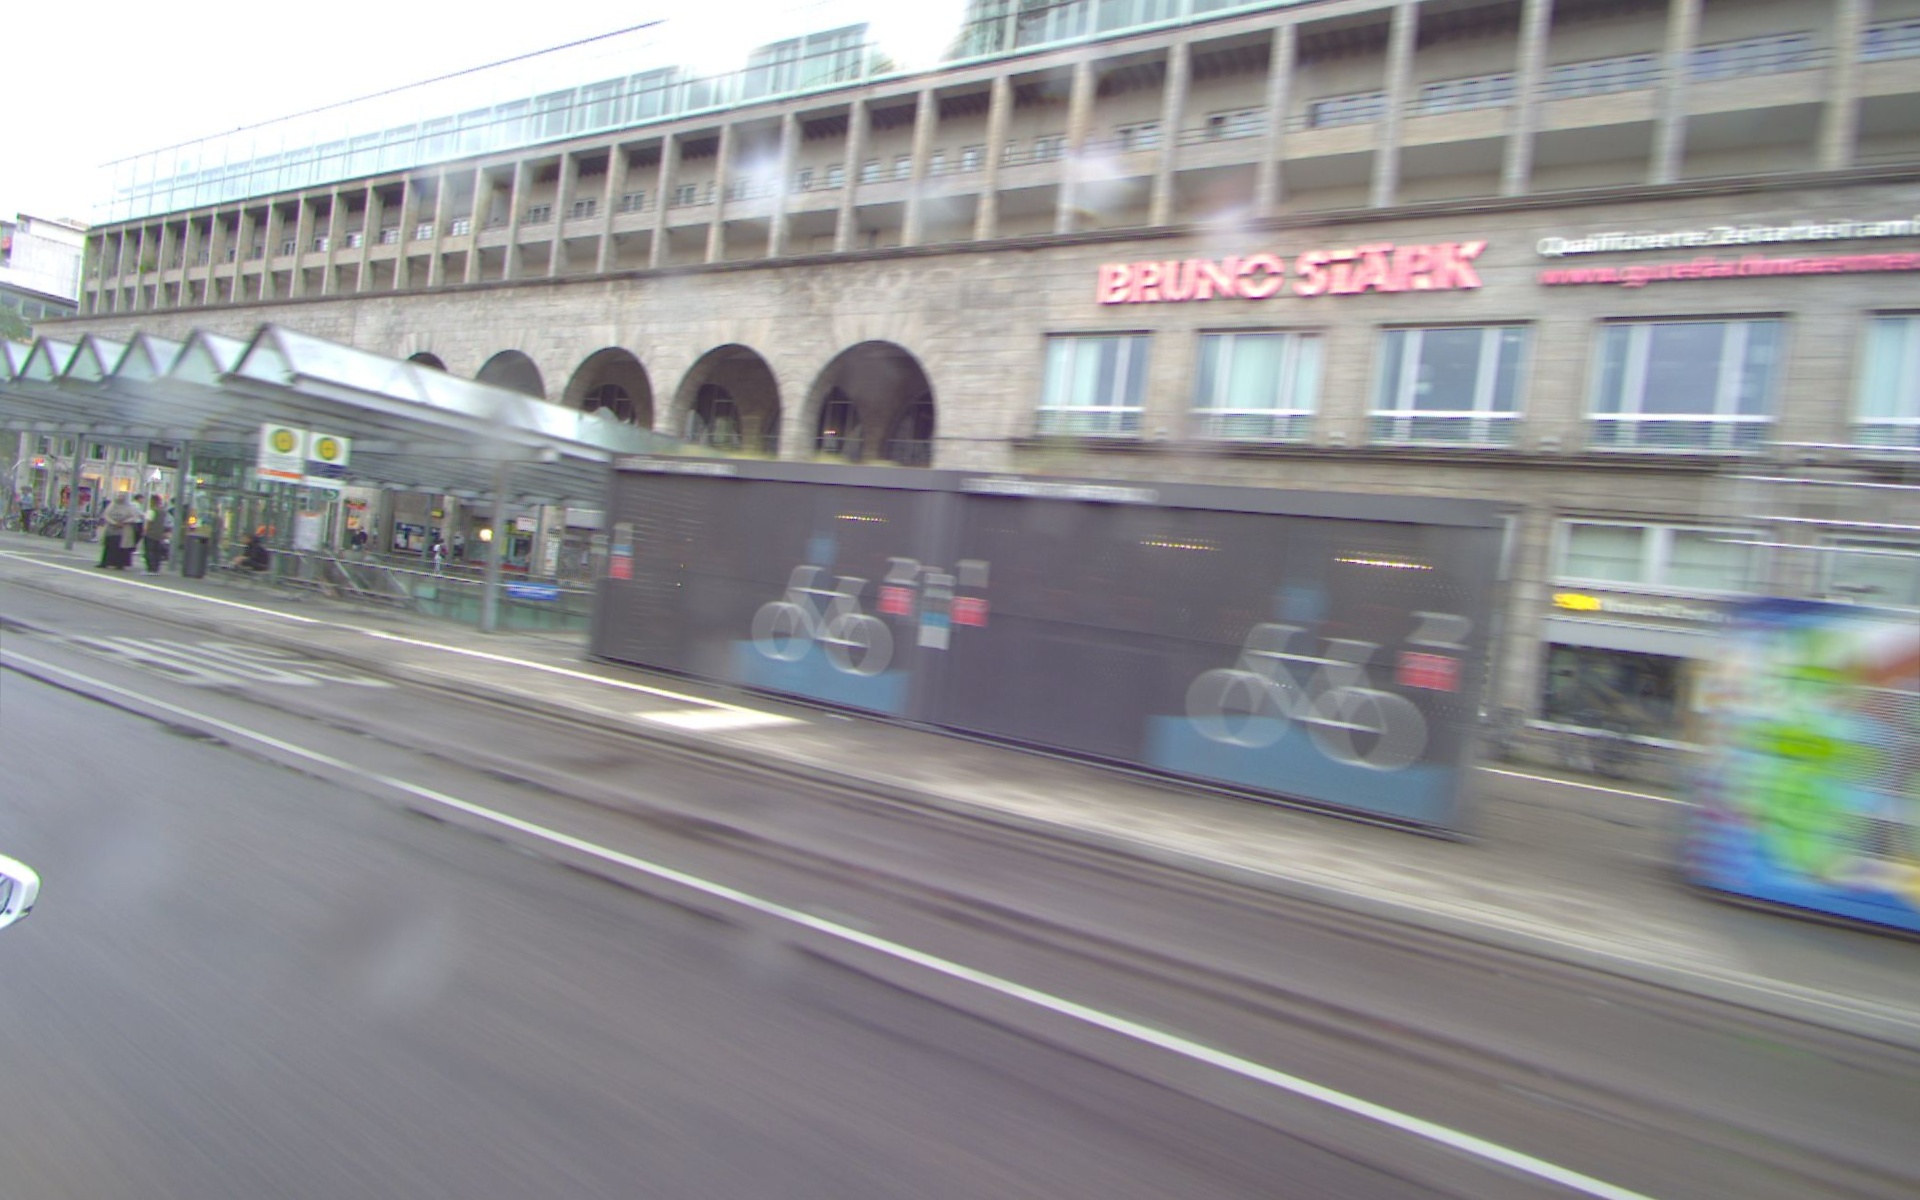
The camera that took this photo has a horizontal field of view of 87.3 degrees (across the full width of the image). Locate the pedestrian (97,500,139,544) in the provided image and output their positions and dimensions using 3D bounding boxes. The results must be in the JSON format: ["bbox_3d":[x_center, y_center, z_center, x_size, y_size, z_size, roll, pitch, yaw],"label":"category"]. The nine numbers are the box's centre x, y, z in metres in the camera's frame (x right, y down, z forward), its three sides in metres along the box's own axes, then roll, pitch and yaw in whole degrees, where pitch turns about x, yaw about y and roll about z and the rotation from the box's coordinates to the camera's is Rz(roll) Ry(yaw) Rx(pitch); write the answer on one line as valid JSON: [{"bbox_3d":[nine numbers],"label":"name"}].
[{"bbox_3d":[-36.150,-3.324,43.211,0.974,1.715,0.853,7,0,-20],"label":"pedestrian"}]

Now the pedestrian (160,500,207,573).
[{"bbox_3d":[-20.818,-1.701,26.979,0.748,1.859,0.752,7,0,-45],"label":"pedestrian"}]

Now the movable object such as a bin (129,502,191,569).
[{"bbox_3d":[-22.124,-1.767,27.825,1.029,1.672,0.665,7,0,6],"label":"movable object such as a bin"}]

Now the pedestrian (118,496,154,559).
[{"bbox_3d":[-25.775,-2.259,31.462,0.616,1.882,0.606,7,0,38],"label":"pedestrian"}]

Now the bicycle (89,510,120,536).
[{"bbox_3d":[-48.537,-4.370,57.084,1.979,1.270,0.660,7,0,31],"label":"bicycle"}]

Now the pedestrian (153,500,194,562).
[{"bbox_3d":[-24.700,-2.160,31.597,0.582,1.853,0.607,7,0,0],"label":"pedestrian"}]

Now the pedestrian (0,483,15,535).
[{"bbox_3d":[-34.492,-3.294,35.707,0.974,1.827,0.789,6,0,1],"label":"pedestrian"}]

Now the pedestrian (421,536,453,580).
[{"bbox_3d":[-22.495,-1.797,43.279,0.740,1.730,0.760,7,0,30],"label":"pedestrian"}]

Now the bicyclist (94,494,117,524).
[{"bbox_3d":[-48.471,-5.145,57.066,0.892,1.574,0.650,6,1,31],"label":"bicyclist"}]

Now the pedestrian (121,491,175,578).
[{"bbox_3d":[-18.449,-1.486,22.857,0.631,1.859,0.628,7,0,32],"label":"pedestrian"}]

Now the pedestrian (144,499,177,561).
[{"bbox_3d":[-25.521,-2.224,32.116,0.592,1.897,0.586,7,0,-33],"label":"pedestrian"}]

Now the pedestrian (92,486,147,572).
[{"bbox_3d":[-19.444,-1.640,23.289,0.564,1.859,0.676,7,0,31],"label":"pedestrian"}]

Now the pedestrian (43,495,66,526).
[{"bbox_3d":[-57.813,-5.712,64.213,0.775,1.814,0.732,7,1,29],"label":"pedestrian"}]

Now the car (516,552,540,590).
[{"bbox_3d":[-19.154,-1.290,44.613,0.558,1.557,0.590,6,-1,32],"label":"car"}]

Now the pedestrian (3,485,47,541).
[{"bbox_3d":[-31.713,-2.948,34.117,0.887,1.715,0.749,7,0,33],"label":"pedestrian"}]

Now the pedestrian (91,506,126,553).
[{"bbox_3d":[-27.003,-2.232,31.902,0.499,1.394,0.553,7,0,25],"label":"pedestrian"}]

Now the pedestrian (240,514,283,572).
[{"bbox_3d":[-24.097,-1.956,34.694,0.739,1.853,0.762,7,0,0],"label":"pedestrian"}]
